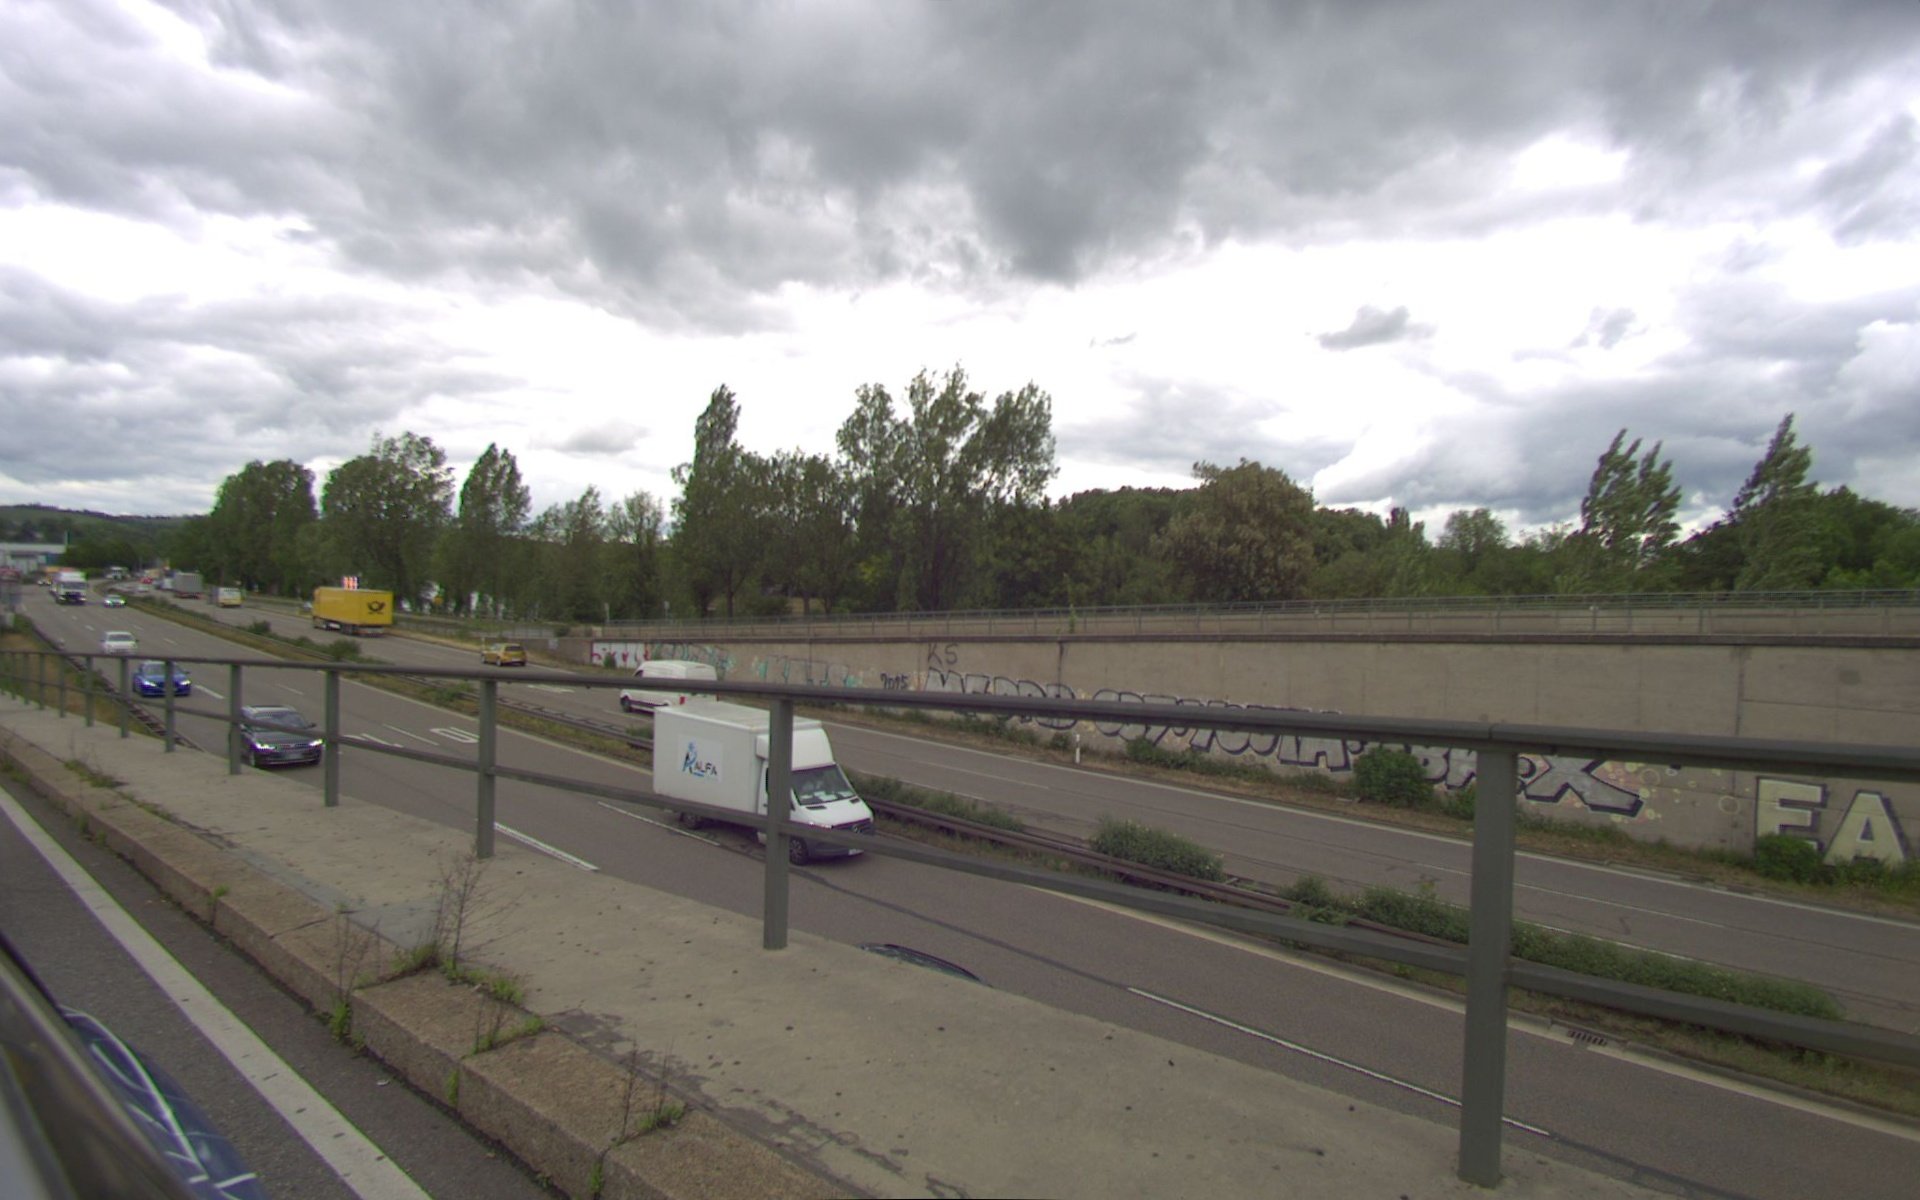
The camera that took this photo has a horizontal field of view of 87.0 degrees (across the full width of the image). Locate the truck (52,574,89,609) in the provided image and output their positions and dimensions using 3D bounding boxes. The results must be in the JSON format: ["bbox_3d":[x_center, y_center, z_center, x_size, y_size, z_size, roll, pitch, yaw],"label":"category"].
[{"bbox_3d":[-111.959,-1.050,127.319,5.877,4.140,2.969,2,0,45],"label":"truck"}]

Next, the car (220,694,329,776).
[{"bbox_3d":[-21.896,4.207,32.276,4.001,2.029,1.971,2,-1,43],"label":"car"}]

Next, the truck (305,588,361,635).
[{"bbox_3d":[-59.861,1.043,96.532,5.807,4.213,3.203,2,0,45],"label":"truck"}]

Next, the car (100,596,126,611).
[{"bbox_3d":[-104.733,0.458,125.138,4.439,1.582,1.830,3,2,43],"label":"car"}]

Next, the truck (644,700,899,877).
[{"bbox_3d":[-4.892,4.420,25.213,7.229,3.031,2.210,2,1,41],"label":"truck"}]

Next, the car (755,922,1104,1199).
[{"bbox_3d":[-0.489,5.377,12.428,4.126,1.461,1.804,2,0,41],"label":"car"}]

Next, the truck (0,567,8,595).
[{"bbox_3d":[-152.189,-3.088,159.344,3.059,4.040,8.497,1,2,-45],"label":"truck"}]

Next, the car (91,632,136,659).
[{"bbox_3d":[-53.415,2.852,63.843,3.337,1.539,1.745,2,0,43],"label":"car"}]

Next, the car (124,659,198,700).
[{"bbox_3d":[-37.426,3.668,47.397,3.999,1.544,1.973,2,-1,41],"label":"car"}]

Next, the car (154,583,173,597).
[{"bbox_3d":[-163.991,-2.005,208.349,5.180,2.669,1.972,2,-3,42],"label":"car"}]

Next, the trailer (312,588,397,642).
[{"bbox_3d":[-55.034,1.219,91.697,13.688,4.294,3.203,2,0,45],"label":"trailer"}]

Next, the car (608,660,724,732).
[{"bbox_3d":[-13.619,4.336,46.648,6.101,2.613,2.144,2,0,42],"label":"car"}]

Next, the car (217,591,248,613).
[{"bbox_3d":[-97.745,0.302,135.928,6.715,2.648,1.972,2,-1,43],"label":"car"}]

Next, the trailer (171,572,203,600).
[{"bbox_3d":[-130.208,-2.427,170.358,2.754,4.170,13.777,1,1,-44],"label":"trailer"}]

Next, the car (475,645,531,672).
[{"bbox_3d":[-30.677,3.909,67.834,4.152,1.468,1.848,2,0,41],"label":"car"}]
